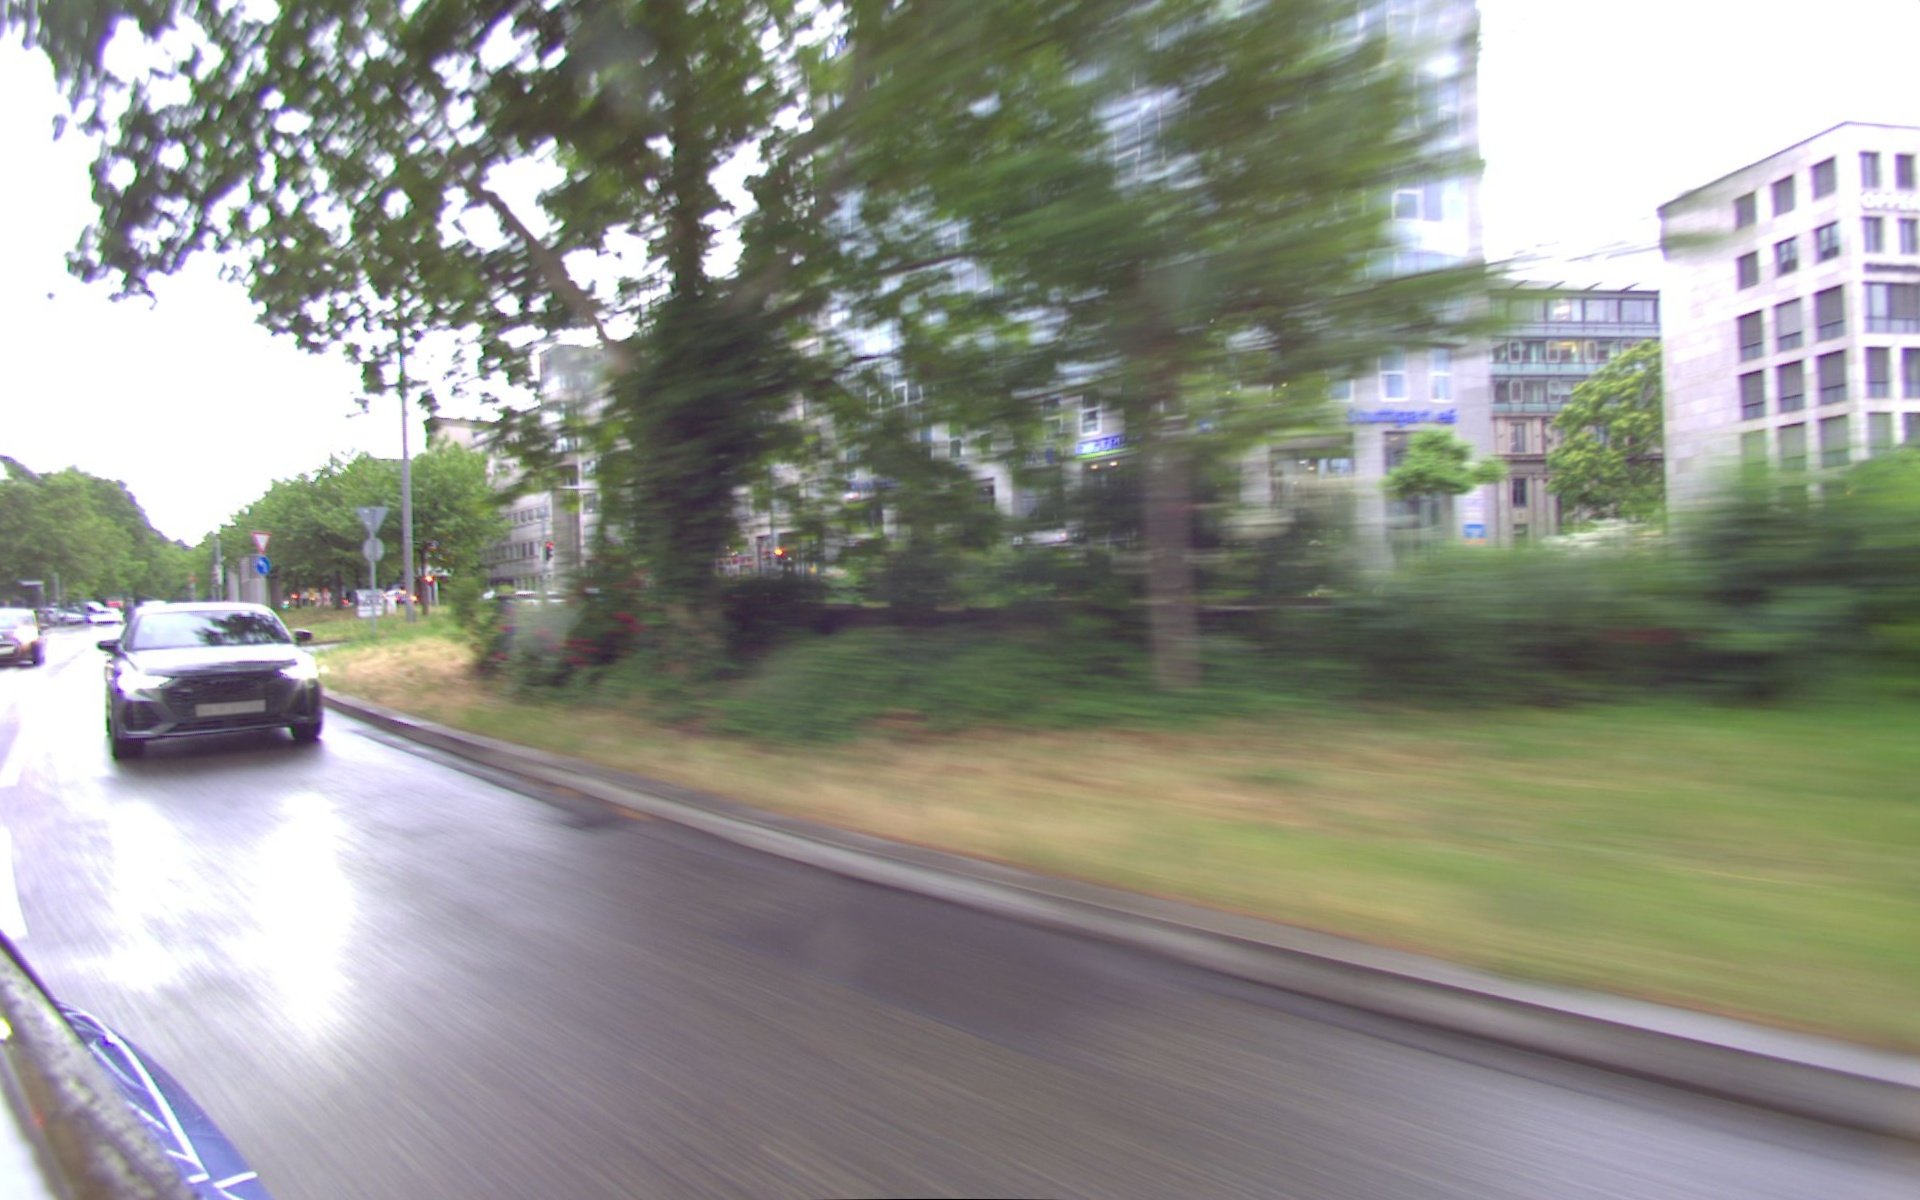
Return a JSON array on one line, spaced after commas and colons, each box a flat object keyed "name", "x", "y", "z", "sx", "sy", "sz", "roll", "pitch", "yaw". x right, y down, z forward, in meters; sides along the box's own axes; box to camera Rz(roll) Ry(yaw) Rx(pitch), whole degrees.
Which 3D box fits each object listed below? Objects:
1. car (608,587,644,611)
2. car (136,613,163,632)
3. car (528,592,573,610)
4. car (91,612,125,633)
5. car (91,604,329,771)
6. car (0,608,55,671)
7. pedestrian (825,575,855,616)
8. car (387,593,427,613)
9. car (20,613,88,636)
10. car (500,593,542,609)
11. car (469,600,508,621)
[{"name": "car", "x": -21.483, "y": -0.057, "z": 65.056, "sx": 1.225, "sy": 1.395, "sz": 2.631, "roll": -4, "pitch": 2, "yaw": -40}, {"name": "car", "x": -66.347, "y": 1.829, "z": 82.813, "sx": 1.582, "sy": 1.395, "sz": 3.025, "roll": -4, "pitch": 2, "yaw": -40}, {"name": "car", "x": -29.616, "y": 0.064, "z": 73.139, "sx": 1.553, "sy": 1.130, "sz": 4.111, "roll": -4, "pitch": 2, "yaw": -44}, {"name": "car", "x": -71.755, "y": 1.844, "z": 85.248, "sx": 2.041, "sy": 1.599, "sz": 4.114, "roll": -4, "pitch": 2, "yaw": -40}, {"name": "car", "x": -8.864, "y": 0.847, "z": 11.797, "sx": 1.838, "sy": 1.529, "sz": 4.351, "roll": -2, "pitch": 1, "yaw": -41}, {"name": "car", "x": -24.598, "y": 0.996, "z": 26.126, "sx": 1.570, "sy": 1.521, "sz": 3.716, "roll": -2, "pitch": 1, "yaw": -38}, {"name": "pedestrian", "x": -6.035, "y": -0.242, "z": 50.856, "sx": 1.034, "sy": 2.029, "sz": 1.042, "roll": 0, "pitch": 0, "yaw": 37}, {"name": "car", "x": -43.201, "y": 0.243, "z": 79.076, "sx": 1.773, "sy": 1.521, "sz": 4.004, "roll": -1, "pitch": 0, "yaw": -43}, {"name": "car", "x": -82.582, "y": 2.205, "z": 92.283, "sx": 4.149, "sy": 1.825, "sz": 2.003, "roll": -3, "pitch": 1, "yaw": -5}, {"name": "car", "x": -33.689, "y": 0.088, "z": 77.599, "sx": 1.553, "sy": 1.130, "sz": 4.111, "roll": -4, "pitch": 2, "yaw": -44}, {"name": "car", "x": -38.625, "y": 0.858, "z": 82.854, "sx": 1.553, "sy": 1.592, "sz": 4.111, "roll": -4, "pitch": 2, "yaw": -44}]
